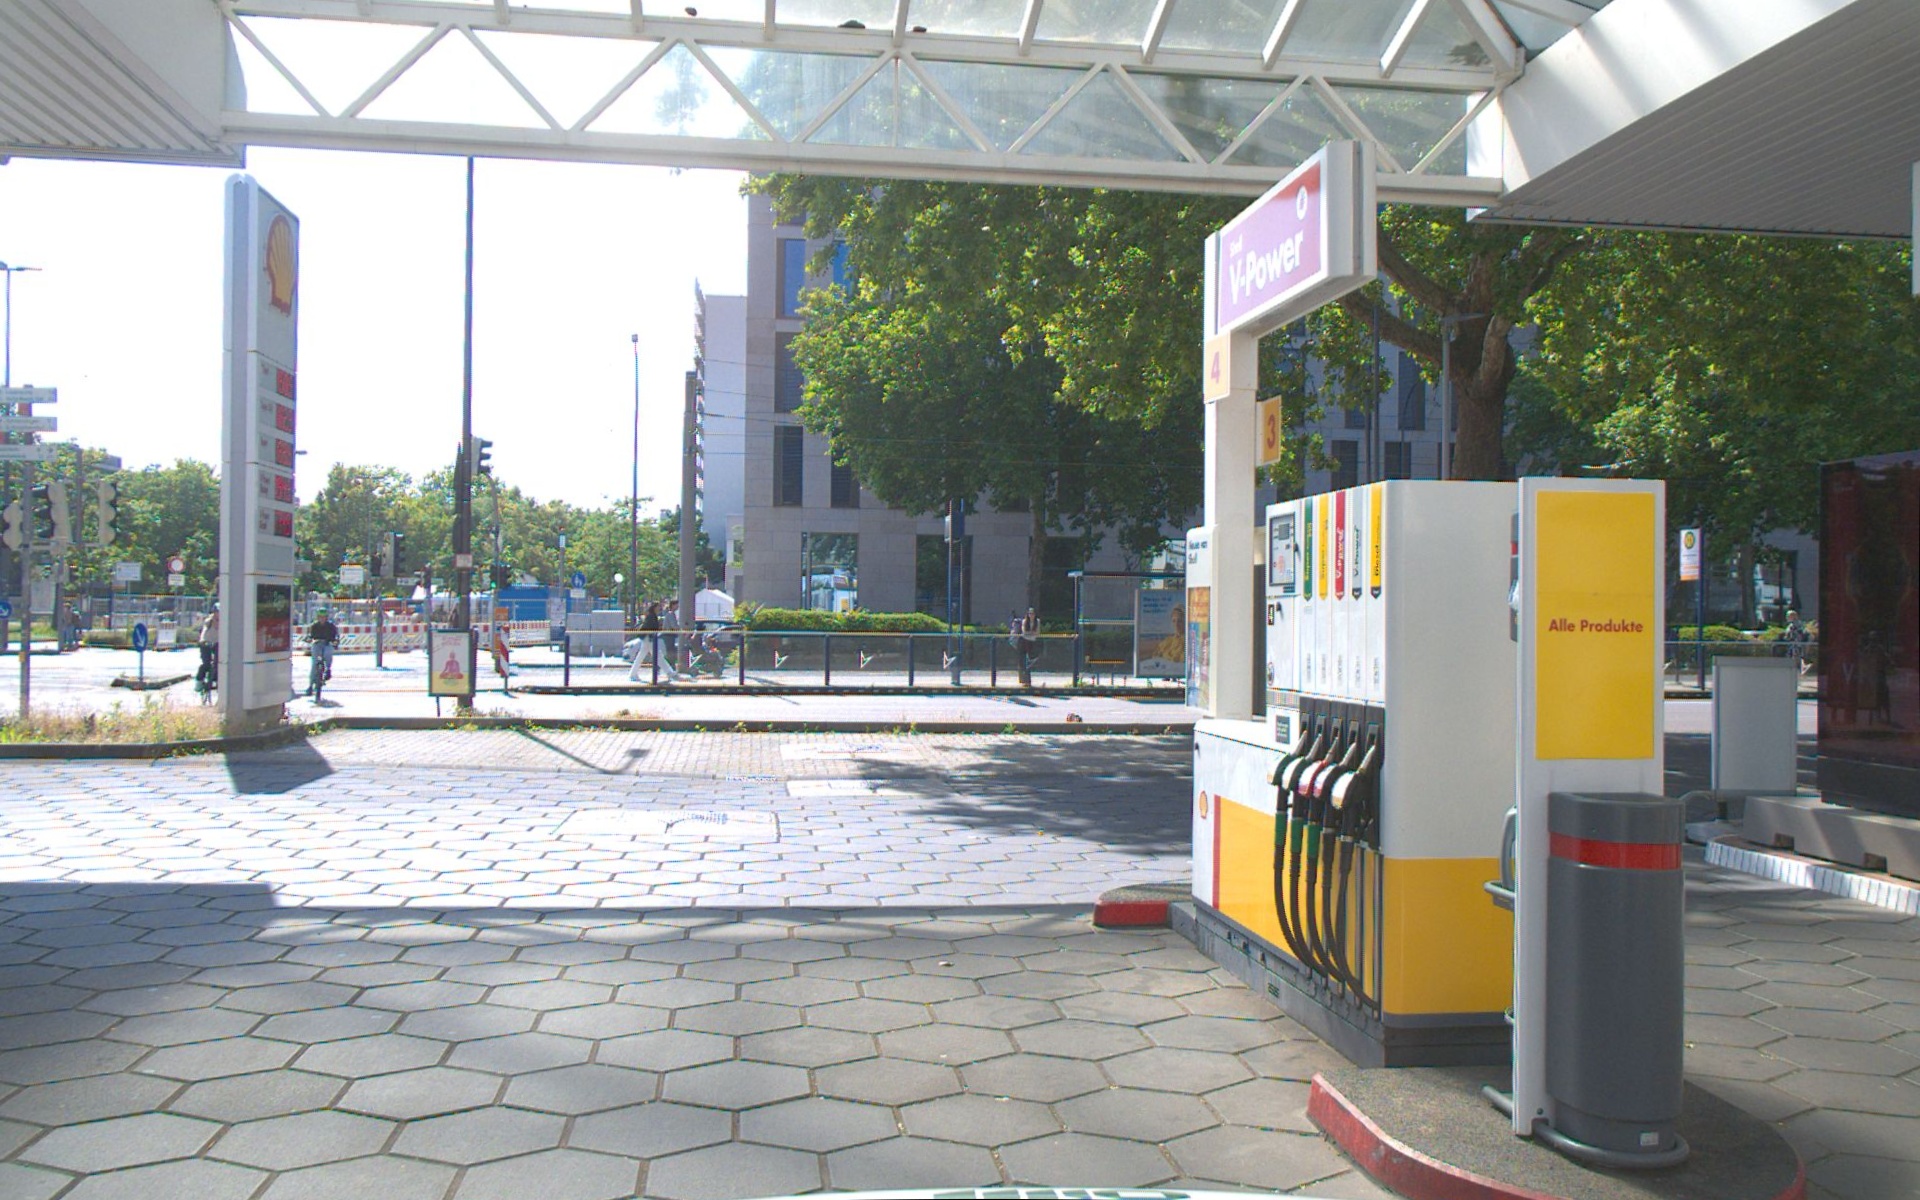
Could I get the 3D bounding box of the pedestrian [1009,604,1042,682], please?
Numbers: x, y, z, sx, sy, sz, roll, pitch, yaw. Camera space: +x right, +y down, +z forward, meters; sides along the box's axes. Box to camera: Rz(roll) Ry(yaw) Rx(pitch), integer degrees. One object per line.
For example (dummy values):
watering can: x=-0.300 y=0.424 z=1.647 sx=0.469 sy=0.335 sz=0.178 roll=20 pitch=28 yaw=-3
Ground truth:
pedestrian: x=1.386 y=0.911 z=35.165 sx=0.573 sy=1.619 sz=0.669 roll=1 pitch=1 yaw=-8

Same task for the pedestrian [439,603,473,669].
pedestrian: x=-12.218 y=0.874 z=40.079 sx=0.637 sy=1.567 sz=0.503 roll=1 pitch=-1 yaw=1

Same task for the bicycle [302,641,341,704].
bicycle: x=-11.866 y=1.324 z=30.718 sx=0.516 sy=1.101 sz=1.851 roll=1 pitch=-1 yaw=-26

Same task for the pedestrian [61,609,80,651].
pedestrian: x=-31.835 y=1.081 z=59.174 sx=0.558 sy=1.495 sz=0.508 roll=1 pitch=-1 yaw=-32

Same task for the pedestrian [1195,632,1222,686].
pedestrian: x=5.400 y=1.271 z=35.946 sx=0.489 sy=1.158 sz=0.524 roll=1 pitch=-1 yaw=-1

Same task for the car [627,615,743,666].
car: x=-8.953 y=1.316 z=53.741 sx=3.618 sy=1.579 sz=1.586 roll=1 pitch=-1 yaw=-13

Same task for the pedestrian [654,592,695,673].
pedestrian: x=-6.181 y=0.701 z=35.821 sx=0.760 sy=1.712 sz=0.503 roll=1 pitch=-1 yaw=1

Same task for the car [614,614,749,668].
car: x=-8.456 y=1.233 z=50.134 sx=3.918 sy=1.579 sz=1.697 roll=1 pitch=-1 yaw=-13

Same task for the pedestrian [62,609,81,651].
pedestrian: x=-31.304 y=1.052 z=58.264 sx=0.558 sy=1.495 sz=0.508 roll=1 pitch=-1 yaw=-32

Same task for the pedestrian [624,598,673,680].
pedestrian: x=-6.554 y=0.814 z=34.801 sx=0.913 sy=1.712 sz=0.503 roll=1 pitch=-1 yaw=1

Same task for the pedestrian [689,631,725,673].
pedestrian: x=-5.473 y=1.116 z=35.800 sx=0.676 sy=0.896 sz=0.503 roll=1 pitch=-1 yaw=1

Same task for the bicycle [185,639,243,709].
bicycle: x=-13.096 y=1.281 z=29.074 sx=0.627 sy=1.101 sz=2.017 roll=1 pitch=1 yaw=-17

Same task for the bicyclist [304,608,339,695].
bicyclist: x=-11.845 y=0.949 z=30.670 sx=0.526 sy=1.571 sz=0.859 roll=1 pitch=-1 yaw=-24

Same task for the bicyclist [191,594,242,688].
bicyclist: x=-13.080 y=0.718 z=29.120 sx=0.627 sy=1.608 sz=1.167 roll=1 pitch=-1 yaw=-17
